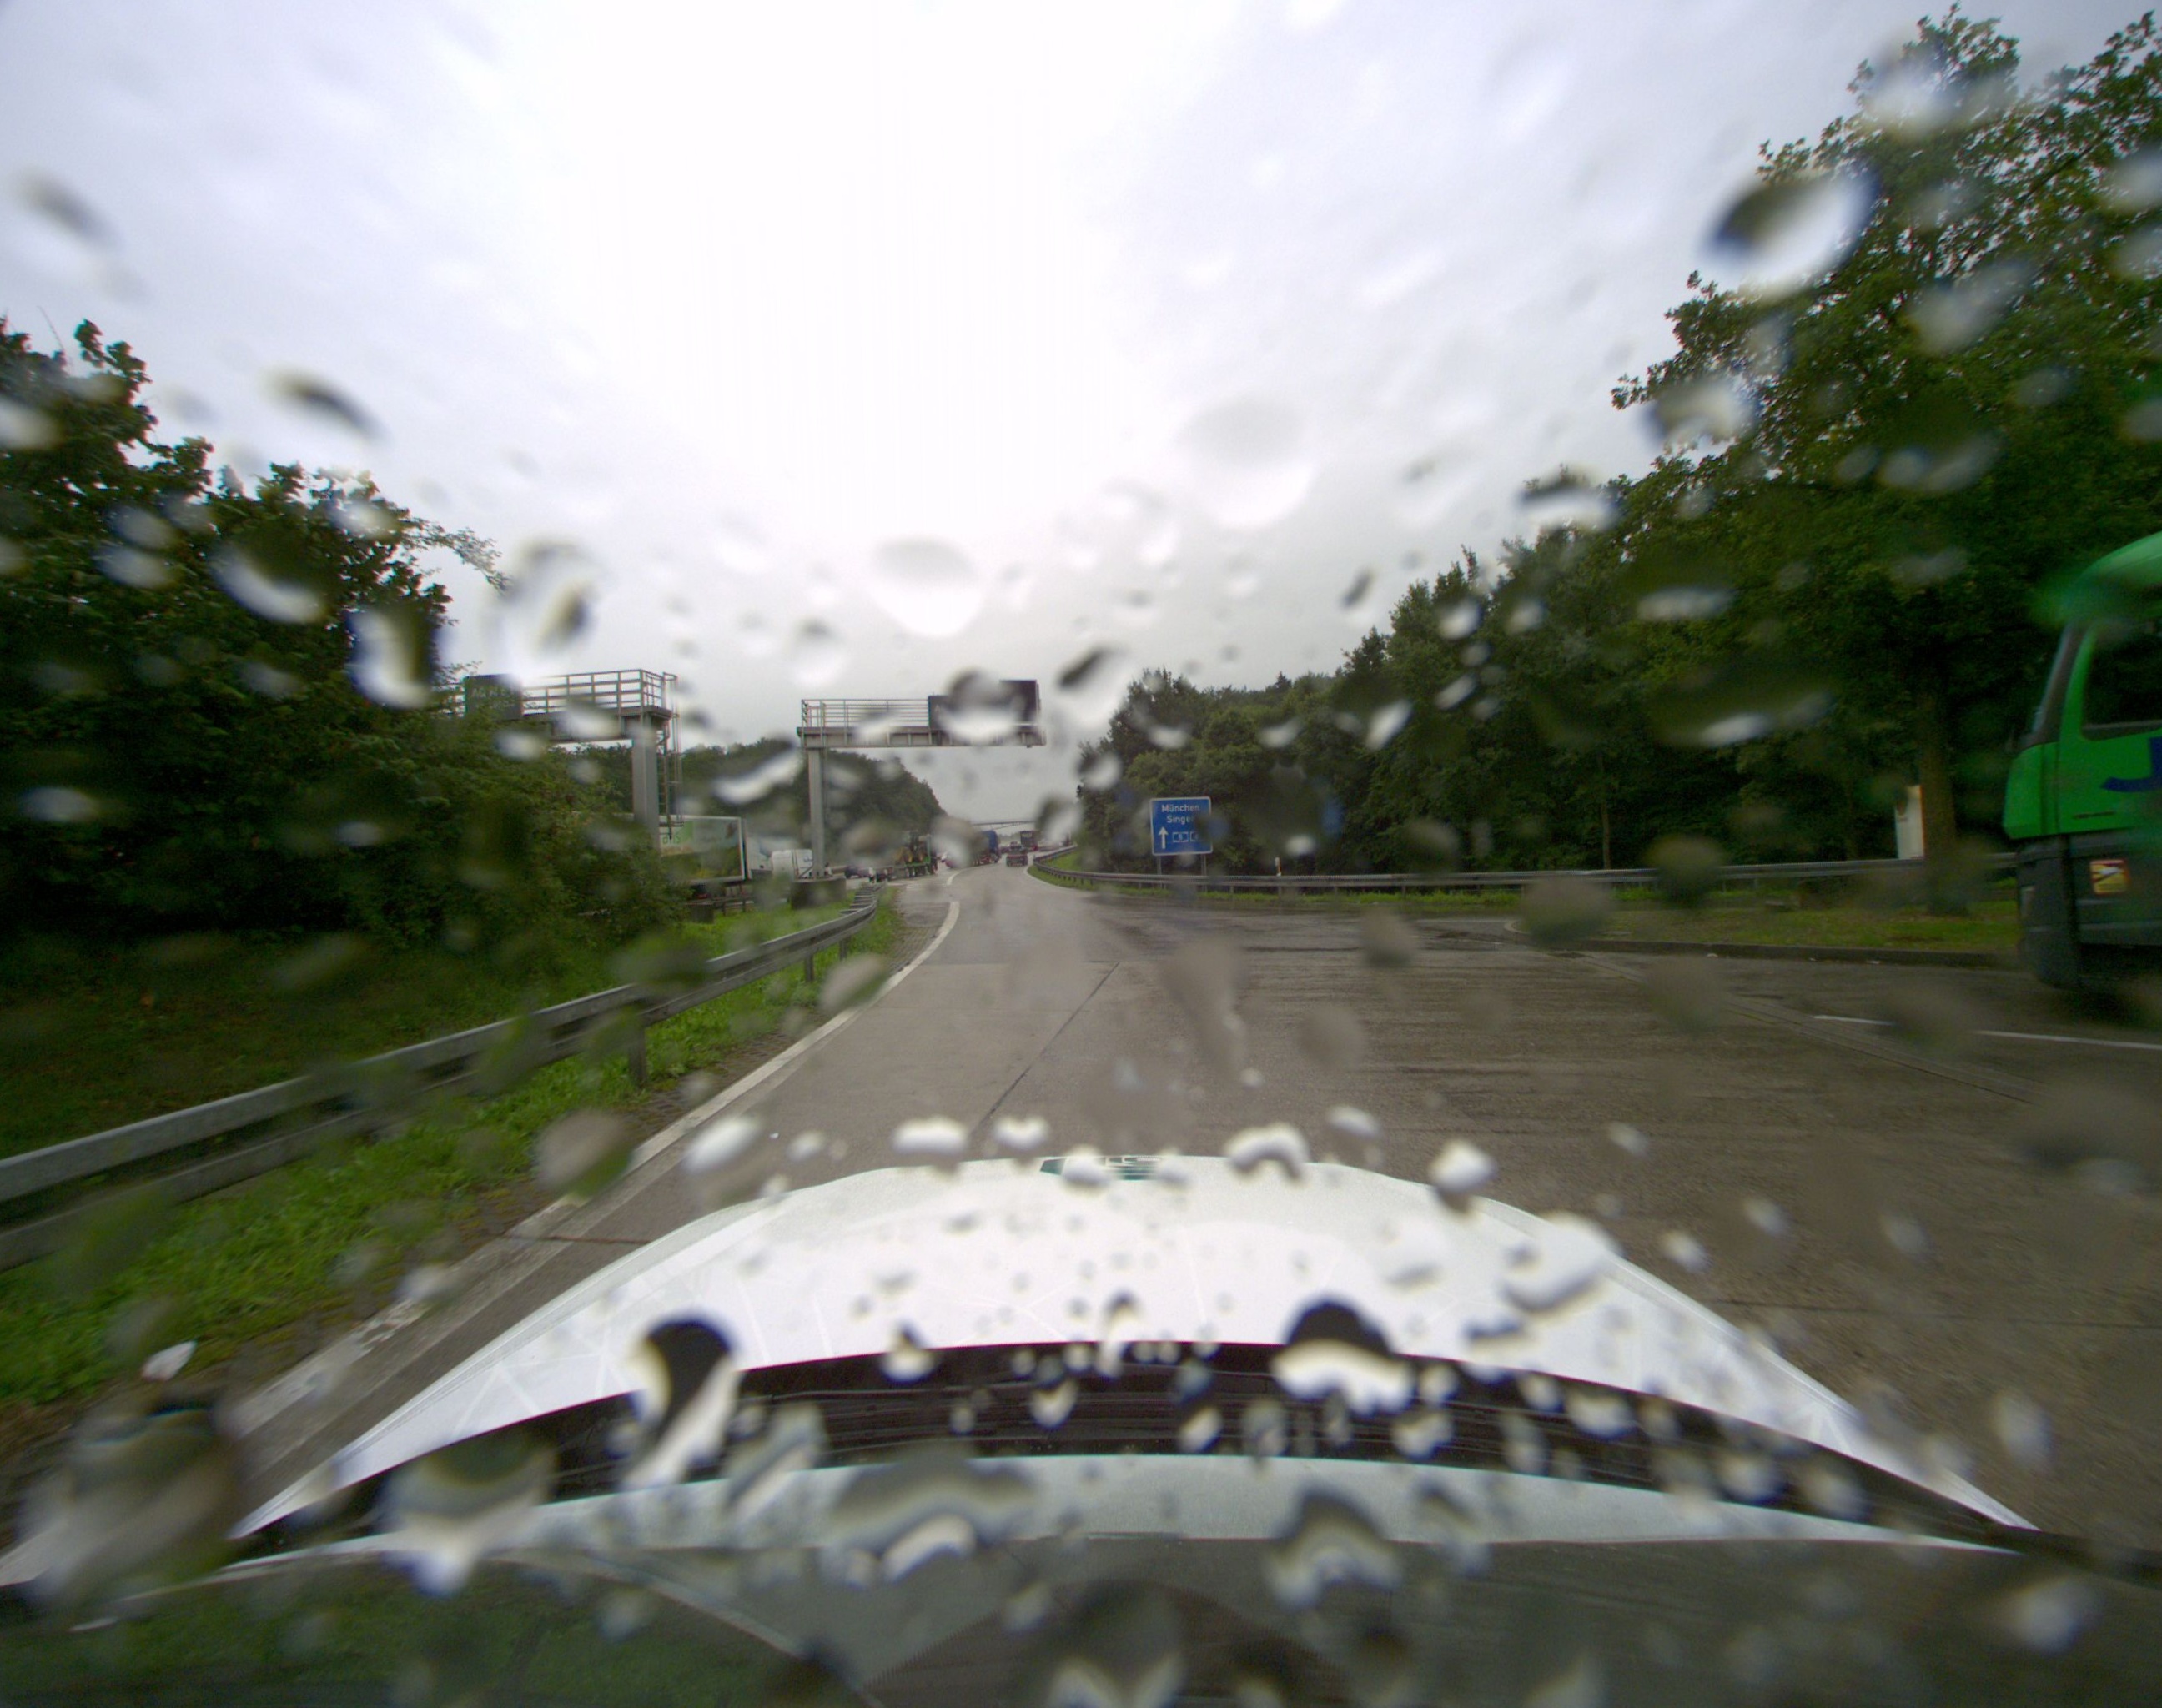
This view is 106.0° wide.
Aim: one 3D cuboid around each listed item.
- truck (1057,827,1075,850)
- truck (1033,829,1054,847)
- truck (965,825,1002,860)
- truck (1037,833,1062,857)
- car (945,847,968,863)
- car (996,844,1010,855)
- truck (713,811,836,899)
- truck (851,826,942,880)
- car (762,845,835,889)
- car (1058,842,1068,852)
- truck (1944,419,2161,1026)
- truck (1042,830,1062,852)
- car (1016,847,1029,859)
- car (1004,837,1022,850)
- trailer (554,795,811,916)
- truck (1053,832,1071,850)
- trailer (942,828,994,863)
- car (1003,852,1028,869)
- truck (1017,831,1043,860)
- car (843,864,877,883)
[{"bbox_3d":[-3.766,-3.873,211.277,4.320,5.763,9.733,0,0,1],"label":"truck"},{"bbox_3d":[-9.021,-3.796,196.295,3.561,4.095,10.889,-3,0,3],"label":"truck"},{"bbox_3d":[-11.013,-1.396,92.537,2.862,3.693,5.066,-4,1,6],"label":"truck"},{"bbox_3d":[-5.697,-1.735,150.744,3.587,4.104,11.566,-4,1,2],"label":"truck"},{"bbox_3d":[-14.507,0.112,95.027,1.811,1.766,4.005,-3,1,4],"label":"car"},{"bbox_3d":[-14.037,-0.808,146.607,1.790,1.903,4.004,-4,0,3],"label":"car"},{"bbox_3d":[-15.830,0.025,42.695,2.902,4.098,6.734,-4,0,8],"label":"truck"},{"bbox_3d":[-14.004,-0.189,63.247,2.816,3.588,11.821,-4,1,7],"label":"truck"},{"bbox_3d":[-19.088,0.824,55.398,2.204,2.629,5.855,-4,1,7],"label":"car"},{"bbox_3d":[-3.986,-1.473,176.582,1.791,1.903,4.002,-4,0,2],"label":"car"},{"bbox_3d":[9.772,-1.043,4.840,2.840,4.149,5.930,-3,-1,-37],"label":"truck"},{"bbox_3d":[-5.850,-2.678,166.462,3.494,4.268,10.606,0,0,1],"label":"truck"},{"bbox_3d":[-9.921,-0.138,139.044,1.790,1.904,4.002,-1,0,2],"label":"car"},{"bbox_3d":[-16.571,-2.503,198.928,3.233,3.002,6.779,0,0,3],"label":"car"},{"bbox_3d":[-16.742,-0.034,36.335,2.902,4.205,13.667,-4,0,8],"label":"trailer"},{"bbox_3d":[-4.451,-2.997,189.587,3.741,3.970,11.061,0,0,1],"label":"truck"},{"bbox_3d":[-11.746,-0.966,85.742,2.859,3.288,10.097,-4,1,6],"label":"trailer"},{"bbox_3d":[-6.560,0.651,82.420,1.985,1.636,4.003,0,0,3],"label":"car"},{"bbox_3d":[-9.964,-1.671,159.518,3.738,5.499,10.182,0,0,4],"label":"truck"},{"bbox_3d":[-20.310,1.766,74.909,1.777,1.727,4.005,0,0,4],"label":"car"}]
